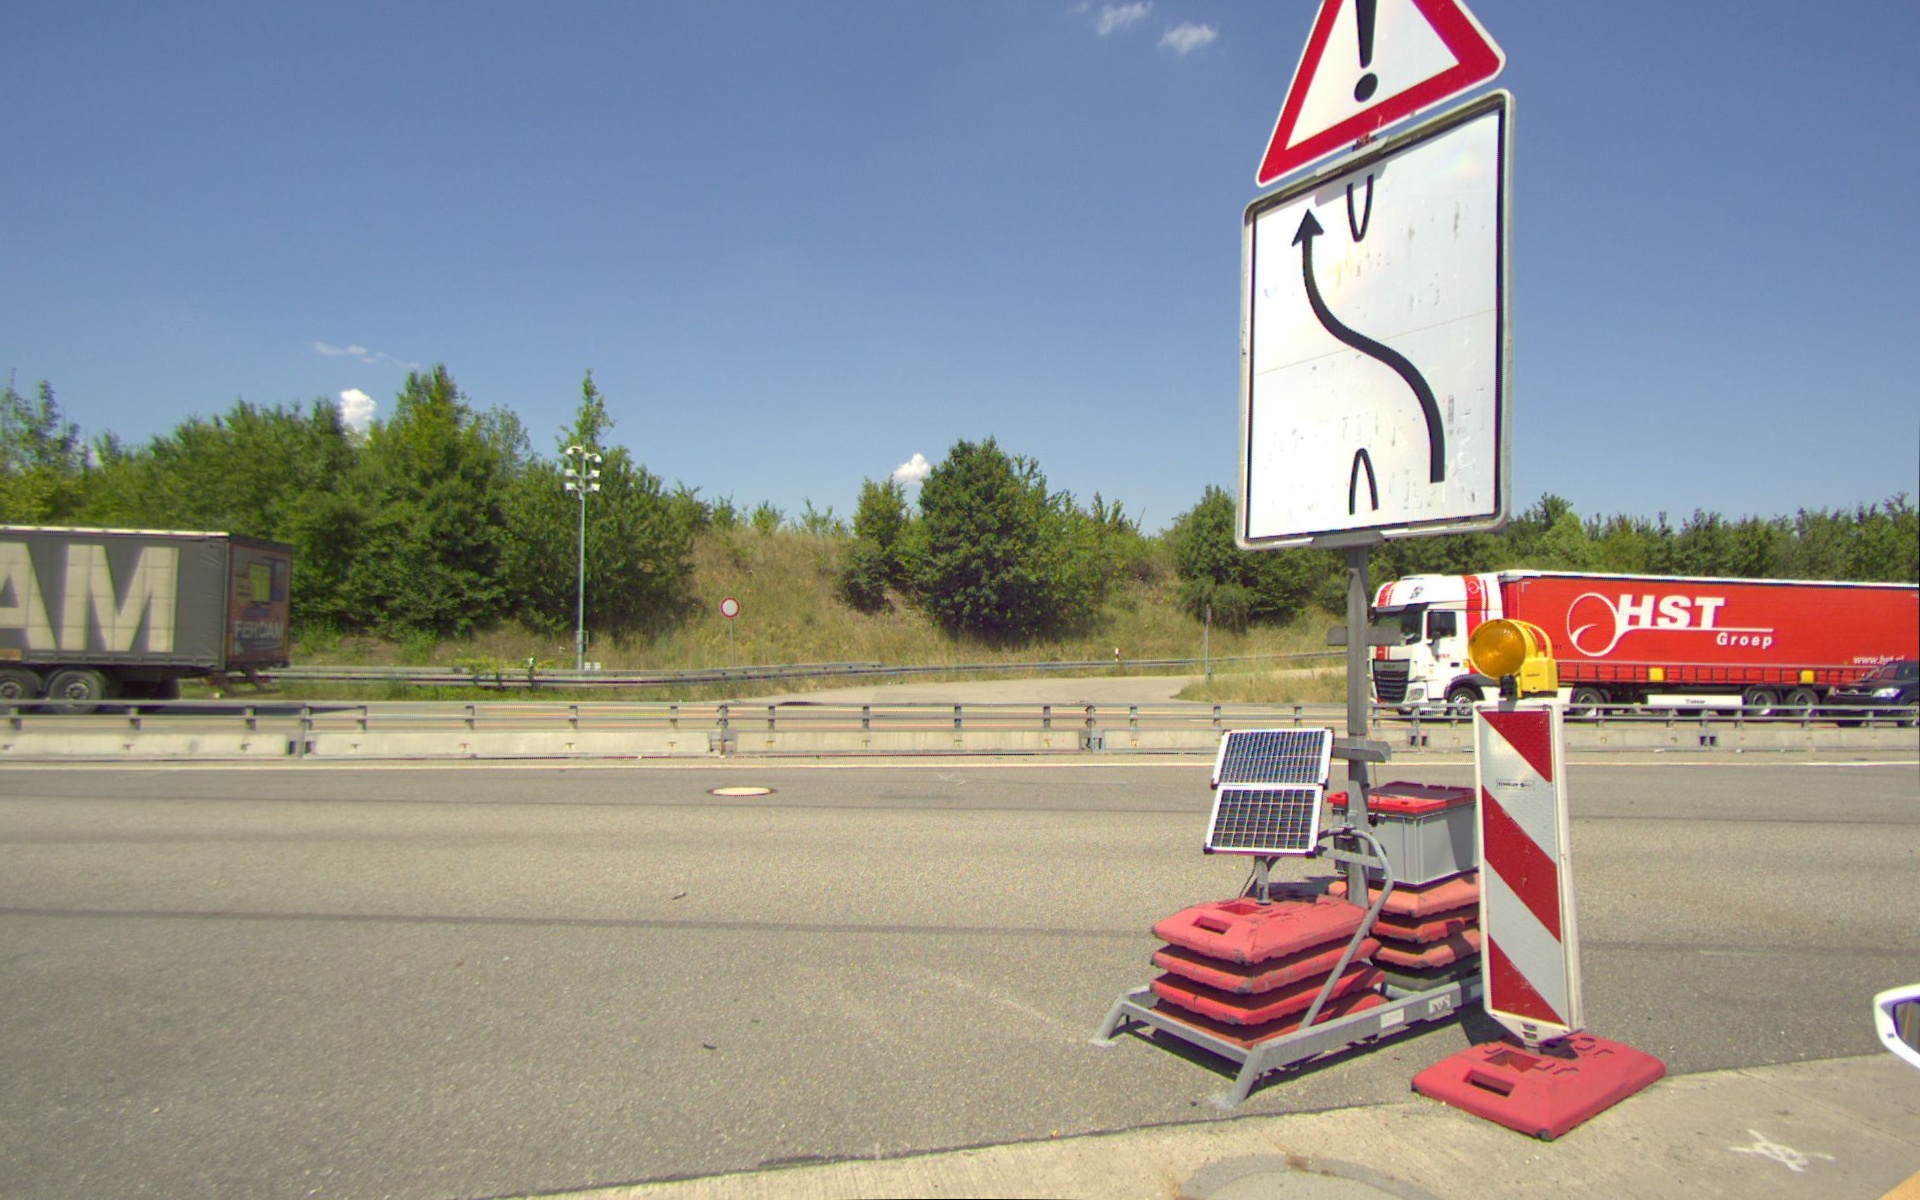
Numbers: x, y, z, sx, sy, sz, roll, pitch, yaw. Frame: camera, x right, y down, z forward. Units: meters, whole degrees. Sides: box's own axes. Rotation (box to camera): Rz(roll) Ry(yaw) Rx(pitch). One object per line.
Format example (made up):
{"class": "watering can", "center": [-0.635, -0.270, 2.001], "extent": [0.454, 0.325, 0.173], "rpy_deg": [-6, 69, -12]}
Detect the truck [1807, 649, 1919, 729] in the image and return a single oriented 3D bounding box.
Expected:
{"class": "truck", "center": [24.659, 2.228, 25.741], "extent": [4.675, 1.898, 1.997], "rpy_deg": [1, -2, -10]}

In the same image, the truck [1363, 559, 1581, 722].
{"class": "truck", "center": [13.997, 1.137, 27.603], "extent": [4.928, 4.161, 2.338], "rpy_deg": [2, -2, -11]}

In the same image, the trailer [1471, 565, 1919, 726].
{"class": "trailer", "center": [21.363, 1.381, 28.971], "extent": [13.023, 4.156, 2.341], "rpy_deg": [2, -2, -10]}

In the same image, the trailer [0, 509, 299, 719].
{"class": "trailer", "center": [-22.515, 0.237, 22.002], "extent": [13.553, 4.353, 2.441], "rpy_deg": [2, -2, -8]}
